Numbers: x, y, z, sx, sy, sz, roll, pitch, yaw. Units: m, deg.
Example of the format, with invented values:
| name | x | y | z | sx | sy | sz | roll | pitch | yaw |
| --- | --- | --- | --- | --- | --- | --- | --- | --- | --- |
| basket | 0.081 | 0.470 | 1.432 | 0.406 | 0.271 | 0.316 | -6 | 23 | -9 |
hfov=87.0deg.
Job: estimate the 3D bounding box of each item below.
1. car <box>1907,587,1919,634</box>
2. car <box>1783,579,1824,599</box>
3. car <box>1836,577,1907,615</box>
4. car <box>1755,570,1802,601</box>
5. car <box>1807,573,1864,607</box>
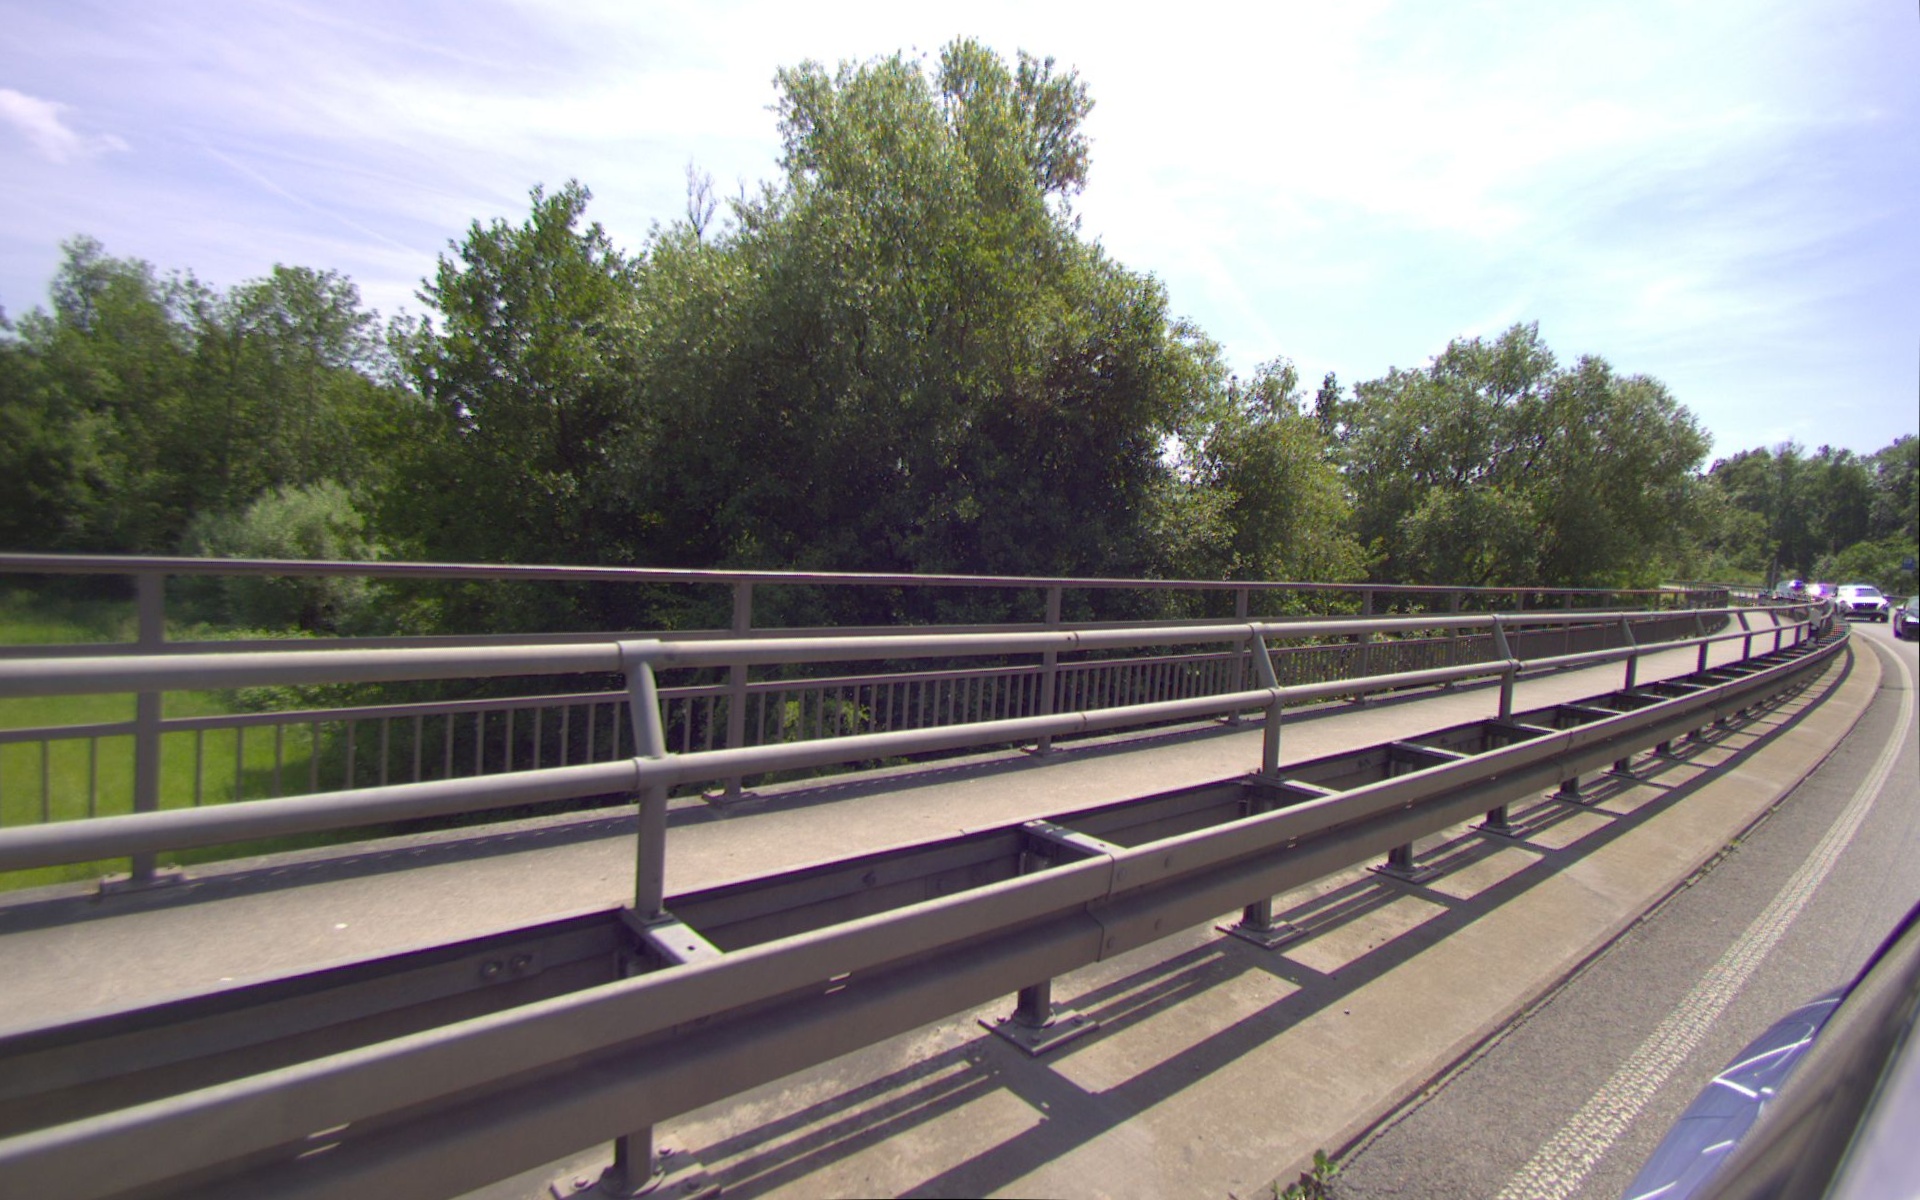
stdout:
| name | x | y | z | sx | sy | sz | roll | pitch | yaw |
| --- | --- | --- | --- | --- | --- | --- | --- | --- | --- |
| car | 31.242 | 0.313 | 31.899 | 1.903 | 1.439 | 3.891 | 1 | 1 | 42 |
| car | 67.340 | -0.895 | 80.848 | 1.808 | 1.542 | 3.911 | 1 | 1 | 29 |
| car | 42.199 | -0.195 | 46.933 | 1.897 | 1.668 | 3.902 | 0 | 1 | 34 |
| car | 55.725 | -0.998 | 68.951 | 1.984 | 2.039 | 3.956 | 0 | 1 | 32 |
| car | 48.915 | -0.592 | 56.609 | 1.987 | 1.797 | 3.950 | 0 | 1 | 35 |
